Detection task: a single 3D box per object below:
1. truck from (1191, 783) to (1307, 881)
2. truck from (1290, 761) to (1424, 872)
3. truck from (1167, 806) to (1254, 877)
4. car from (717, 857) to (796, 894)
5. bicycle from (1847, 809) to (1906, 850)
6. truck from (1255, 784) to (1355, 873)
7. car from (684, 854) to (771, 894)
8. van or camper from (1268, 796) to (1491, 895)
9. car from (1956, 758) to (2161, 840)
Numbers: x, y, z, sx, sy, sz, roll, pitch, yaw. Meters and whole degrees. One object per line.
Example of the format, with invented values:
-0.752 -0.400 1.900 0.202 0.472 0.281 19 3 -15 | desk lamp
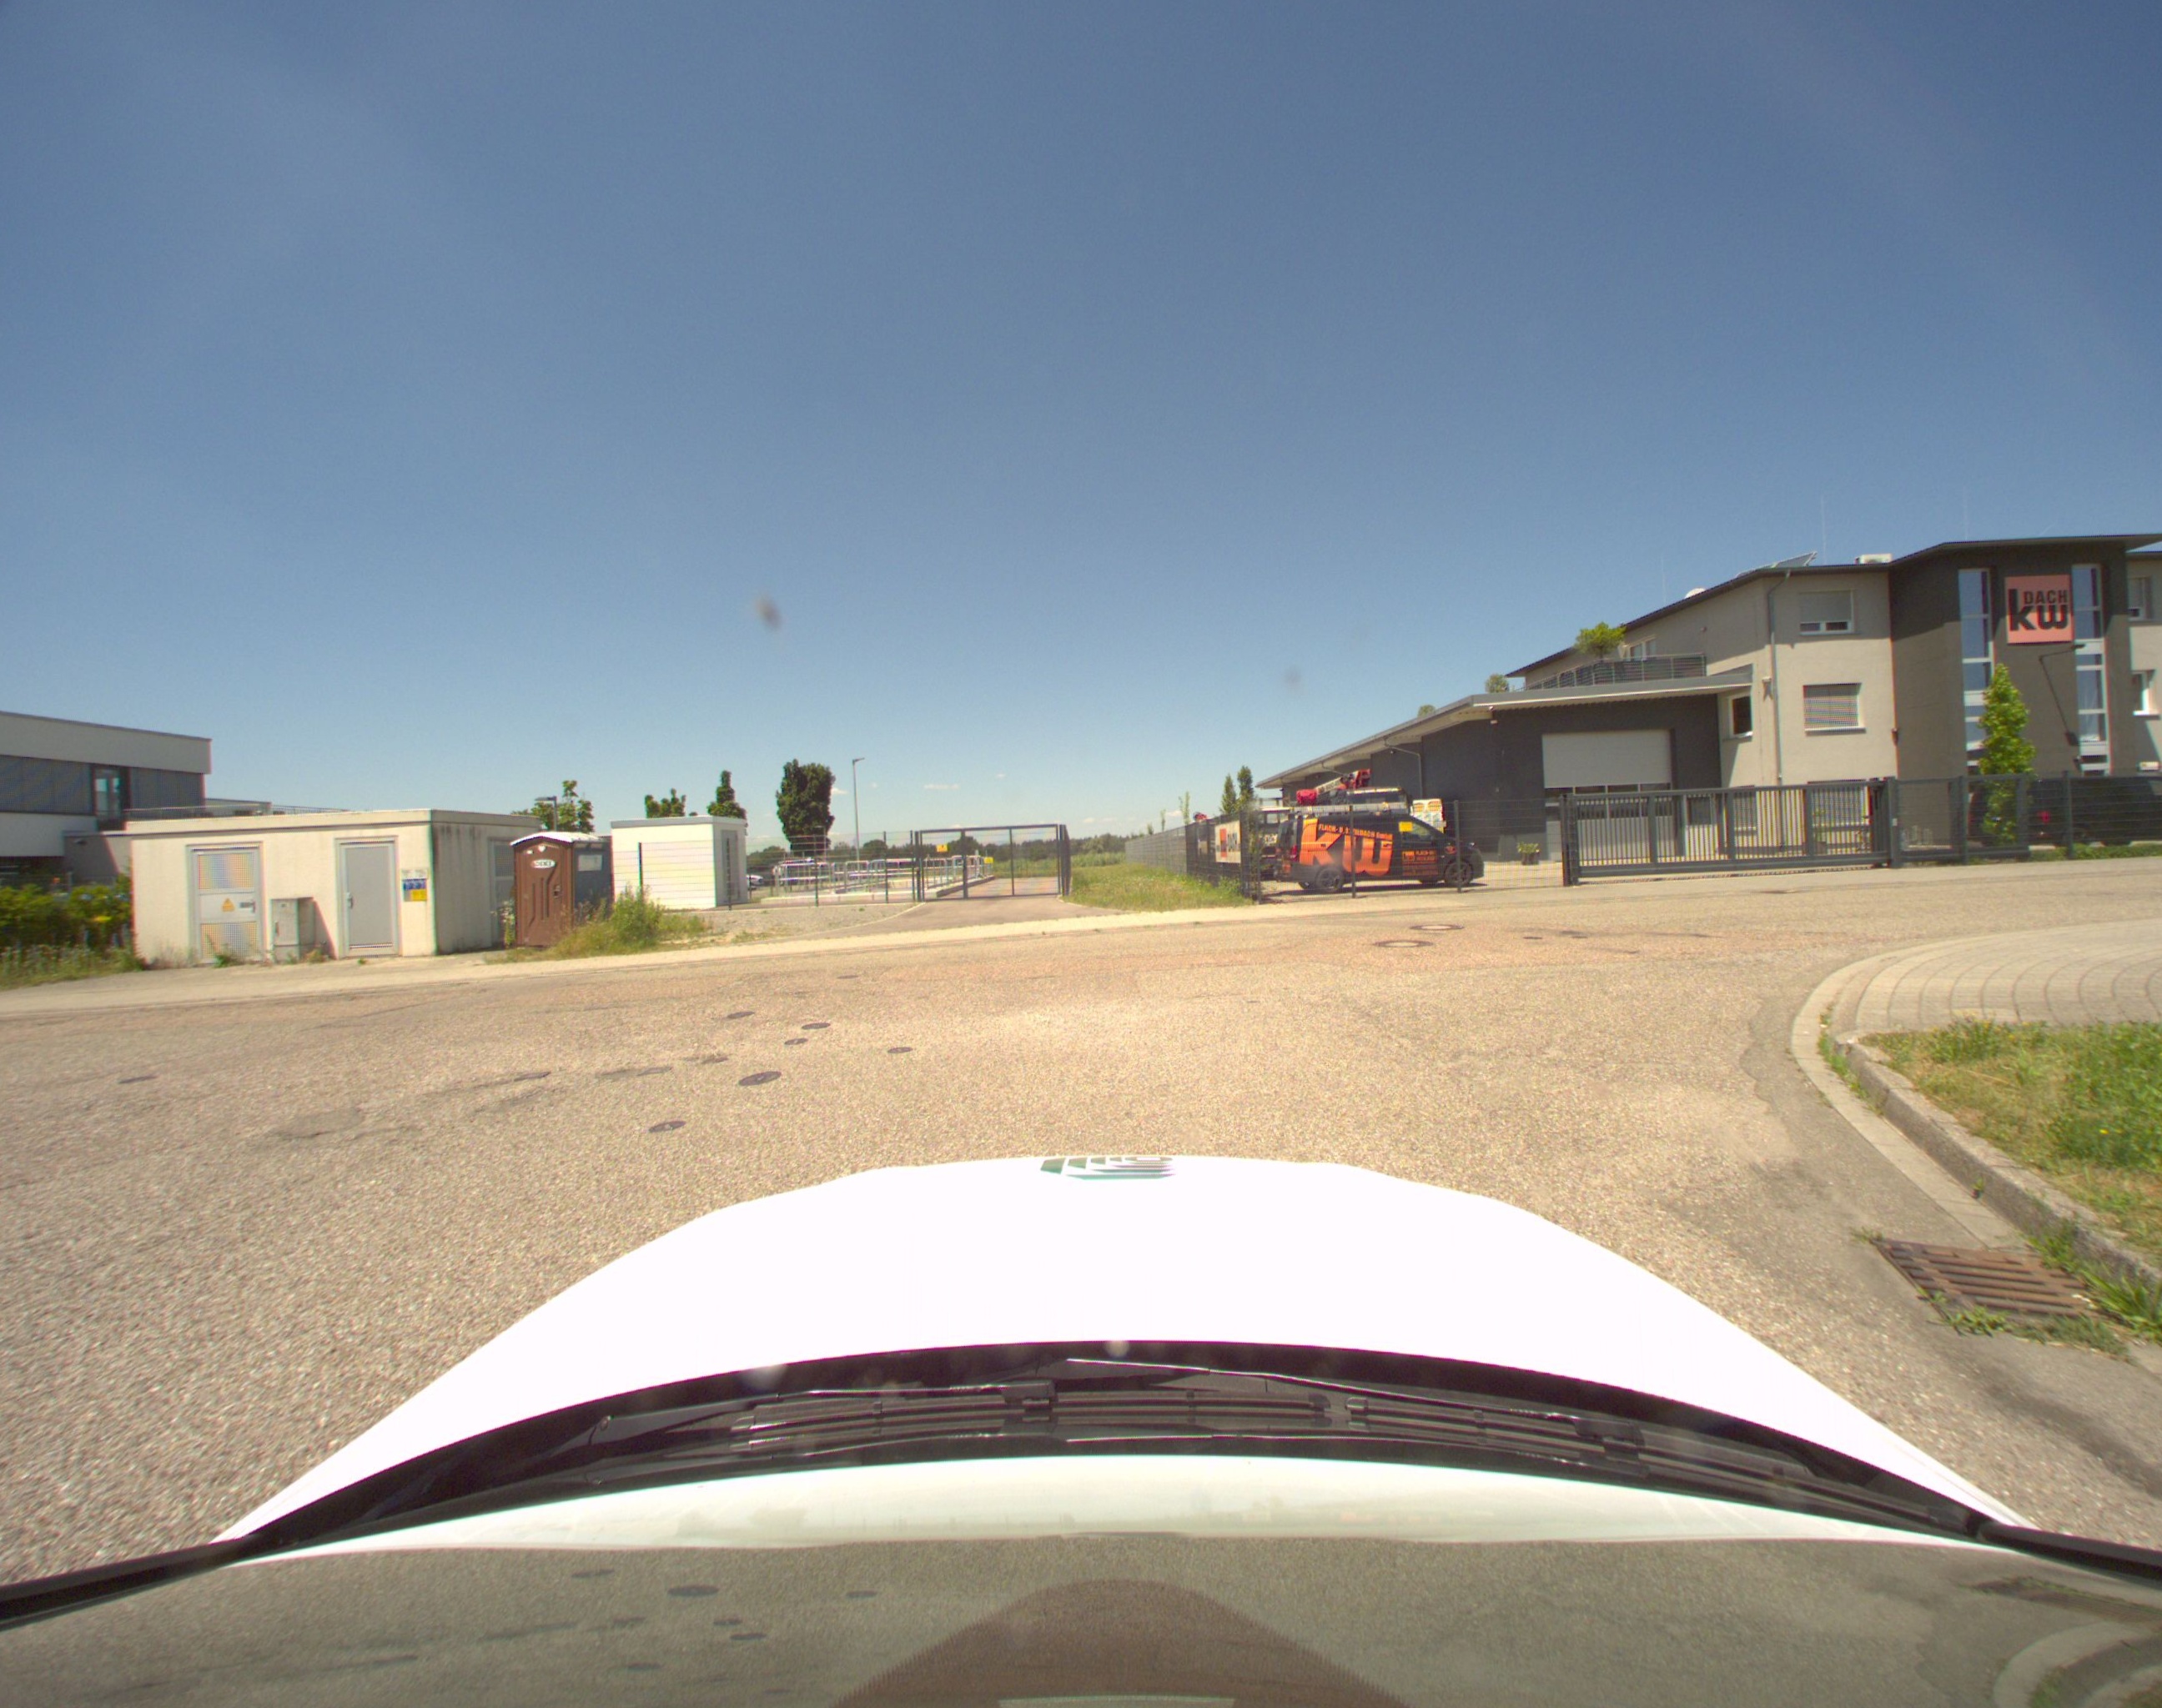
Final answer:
5.932 -0.723 29.950 2.718 3.061 6.935 -3 0 0 | truck
10.940 -1.373 33.130 2.912 3.929 6.935 -3 0 0 | truck
6.024 -0.543 38.962 2.912 2.937 6.935 -3 0 0 | truck
-20.039 1.290 50.467 3.973 2.013 2.000 -3 0 0 | car
25.337 -0.779 25.932 1.804 1.185 0.442 -3 0 -14 | bicycle
10.975 -1.169 40.714 2.912 3.929 6.935 -3 0 0 | truck
-20.114 1.104 46.416 3.973 2.013 2.000 -3 0 0 | car
7.484 -0.232 20.776 4.921 2.163 2.000 -3 1 -1 | van or camper
26.176 -1.429 21.480 3.974 1.867 2.000 -3 0 0 | car
